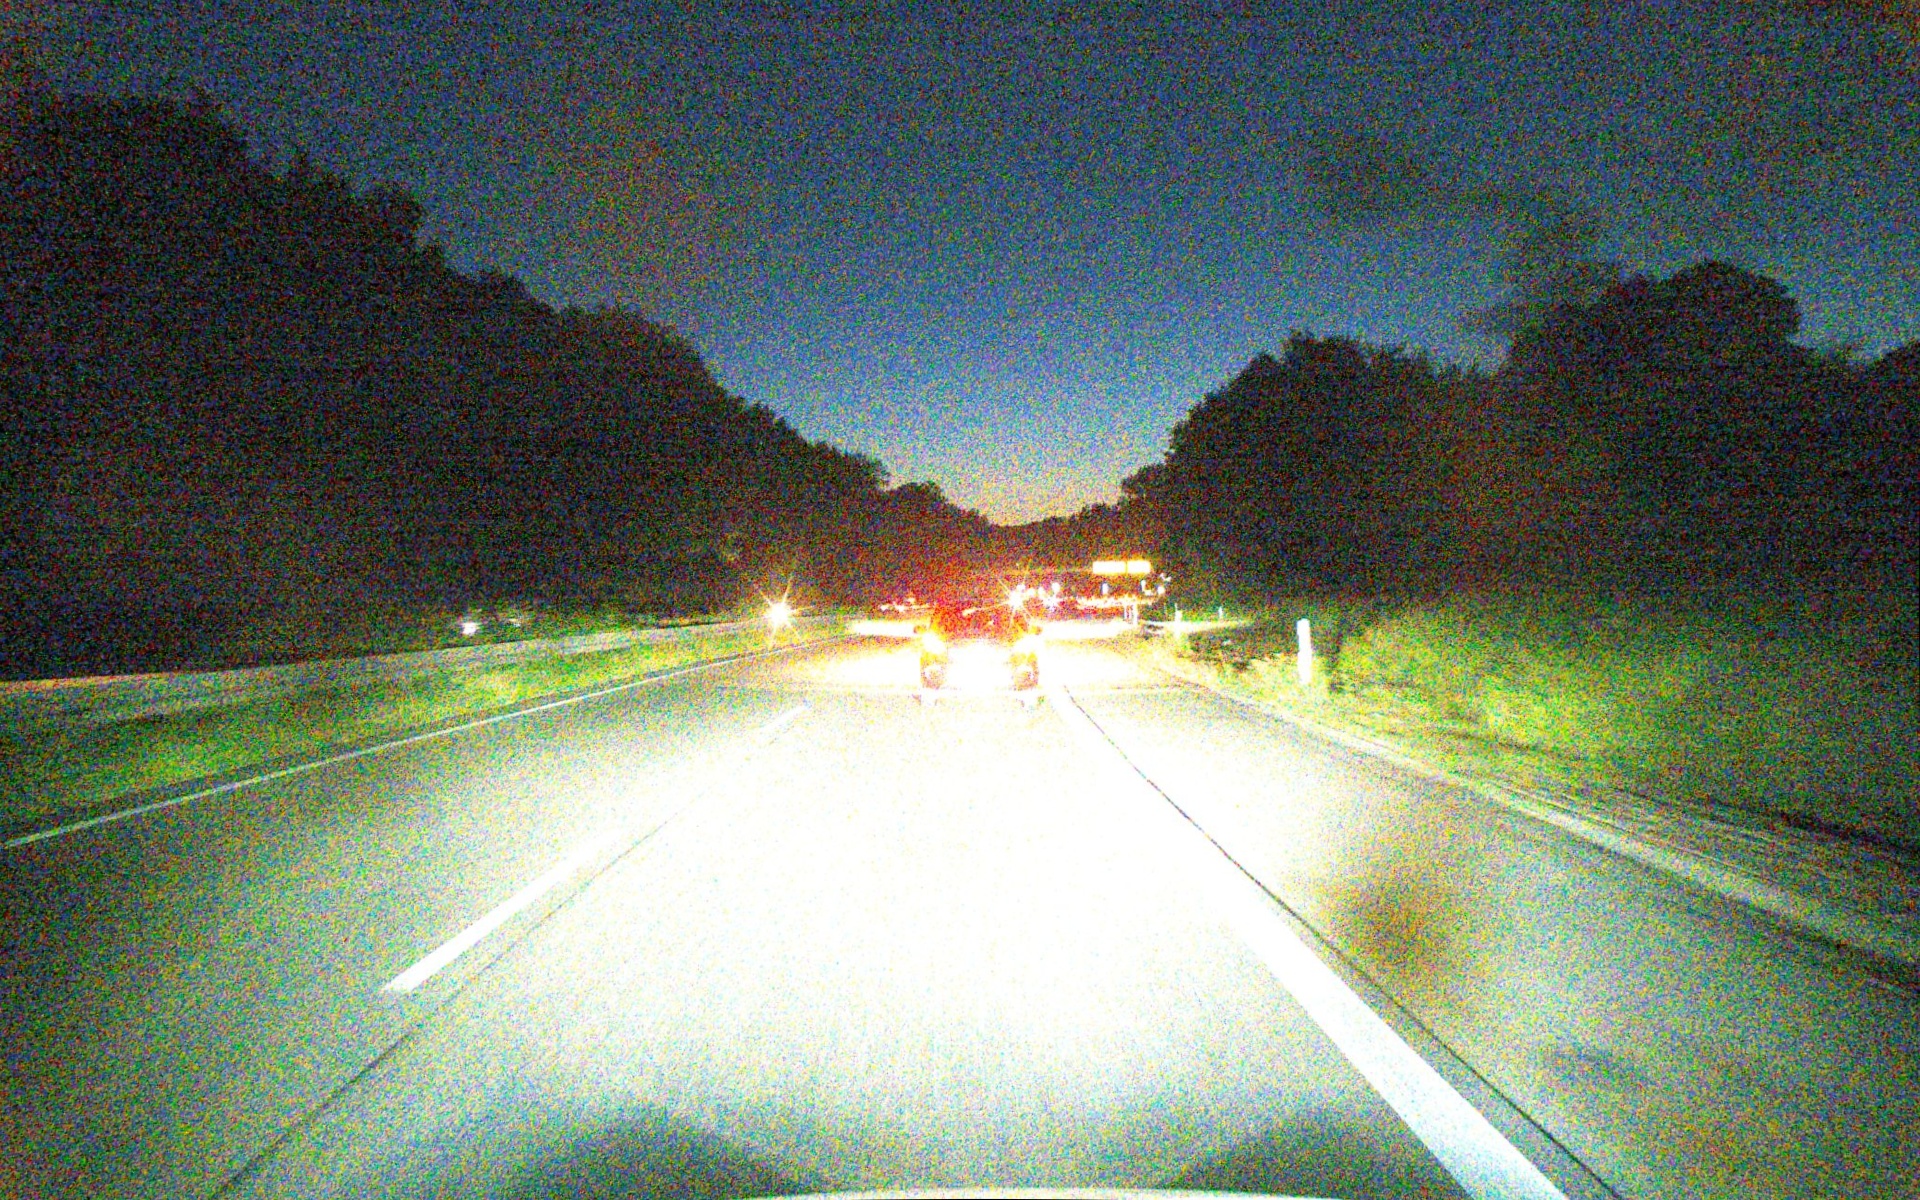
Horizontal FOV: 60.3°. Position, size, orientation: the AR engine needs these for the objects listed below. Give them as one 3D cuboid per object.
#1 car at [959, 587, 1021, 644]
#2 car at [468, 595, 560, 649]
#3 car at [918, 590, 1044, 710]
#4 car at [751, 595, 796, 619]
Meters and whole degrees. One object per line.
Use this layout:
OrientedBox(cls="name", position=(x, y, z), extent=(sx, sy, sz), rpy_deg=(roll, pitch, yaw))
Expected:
OrientedBox(cls="car", position=(0.994, 0.471, 53.137), extent=(1.867, 1.728, 4.002), rpy_deg=(-1, 1, 3))
OrientedBox(cls="car", position=(-14.712, 0.702, 54.793), extent=(1.953, 1.686, 4.532), rpy_deg=(-1, 0, -2))
OrientedBox(cls="car", position=(0.219, 0.646, 23.419), extent=(1.556, 1.534, 3.998), rpy_deg=(1, 0, -2))
OrientedBox(cls="car", position=(-12.414, 0.449, 110.430), extent=(1.782, 1.467, 4.479), rpy_deg=(-3, 0, 9))
